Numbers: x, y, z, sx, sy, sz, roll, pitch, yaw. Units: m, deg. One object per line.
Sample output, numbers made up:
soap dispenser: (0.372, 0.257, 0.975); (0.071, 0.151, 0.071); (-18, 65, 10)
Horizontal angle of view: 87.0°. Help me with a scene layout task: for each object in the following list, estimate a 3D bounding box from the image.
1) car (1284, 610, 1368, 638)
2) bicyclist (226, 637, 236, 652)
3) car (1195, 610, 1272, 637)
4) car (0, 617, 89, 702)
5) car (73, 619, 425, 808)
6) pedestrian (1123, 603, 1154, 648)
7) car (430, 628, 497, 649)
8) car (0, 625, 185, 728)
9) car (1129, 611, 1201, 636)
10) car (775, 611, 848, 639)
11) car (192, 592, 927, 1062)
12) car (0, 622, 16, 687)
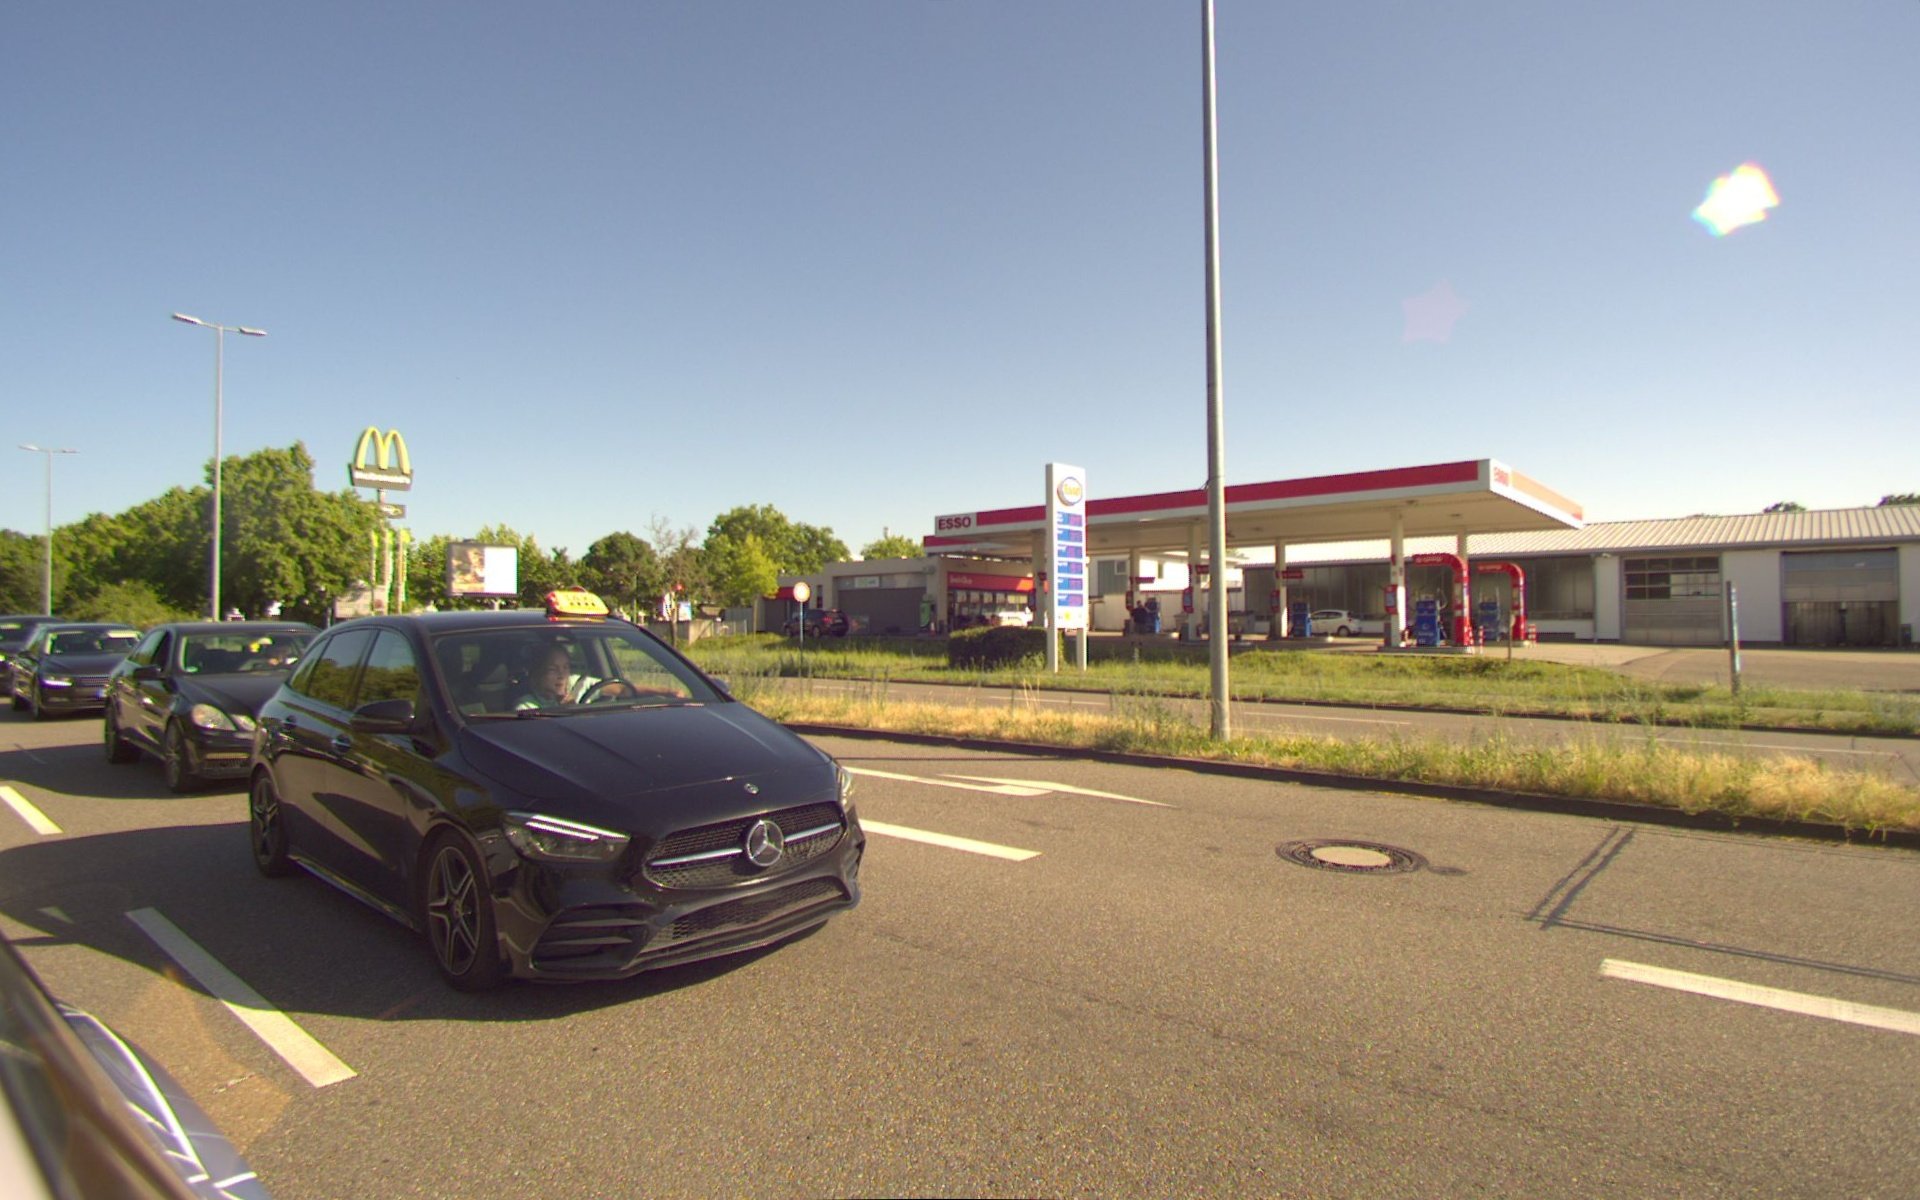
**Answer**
car: (19.833, 1.313, 54.849); (3.975, 1.420, 1.661); (-1, -4, 40)
bicyclist: (-66.370, 4.019, 92.167); (0.700, 1.298, 0.621); (-1, 0, 42)
car: (15.831, 1.364, 58.590); (3.975, 1.420, 1.661); (-1, -4, 40)
car: (-19.944, 1.212, 21.453); (3.876, 1.629, 1.653); (-2, -1, 40)
car: (-7.266, 0.937, 10.171); (4.400, 1.449, 1.845); (-1, 0, 40)
pedestrian: (7.040, 0.994, 39.842); (0.888, 1.763, 0.793); (-1, 0, -28)
car: (-35.972, 2.777, 73.367); (1.763, 1.420, 3.925); (-1, -4, 40)
car: (-14.457, 1.162, 16.703); (4.284, 1.438, 1.775); (-1, 0, 40)
car: (12.433, 1.409, 61.390); (3.975, 1.420, 1.661); (-1, -4, 40)
car: (-8.071, 1.364, 54.827); (3.975, 1.420, 1.661); (-1, -4, 40)
car: (-2.389, 0.743, 5.344); (4.400, 1.502, 1.741); (-1, 0, 40)
car: (-25.228, 1.379, 25.551); (3.774, 1.567, 1.615); (-1, -1, 40)
